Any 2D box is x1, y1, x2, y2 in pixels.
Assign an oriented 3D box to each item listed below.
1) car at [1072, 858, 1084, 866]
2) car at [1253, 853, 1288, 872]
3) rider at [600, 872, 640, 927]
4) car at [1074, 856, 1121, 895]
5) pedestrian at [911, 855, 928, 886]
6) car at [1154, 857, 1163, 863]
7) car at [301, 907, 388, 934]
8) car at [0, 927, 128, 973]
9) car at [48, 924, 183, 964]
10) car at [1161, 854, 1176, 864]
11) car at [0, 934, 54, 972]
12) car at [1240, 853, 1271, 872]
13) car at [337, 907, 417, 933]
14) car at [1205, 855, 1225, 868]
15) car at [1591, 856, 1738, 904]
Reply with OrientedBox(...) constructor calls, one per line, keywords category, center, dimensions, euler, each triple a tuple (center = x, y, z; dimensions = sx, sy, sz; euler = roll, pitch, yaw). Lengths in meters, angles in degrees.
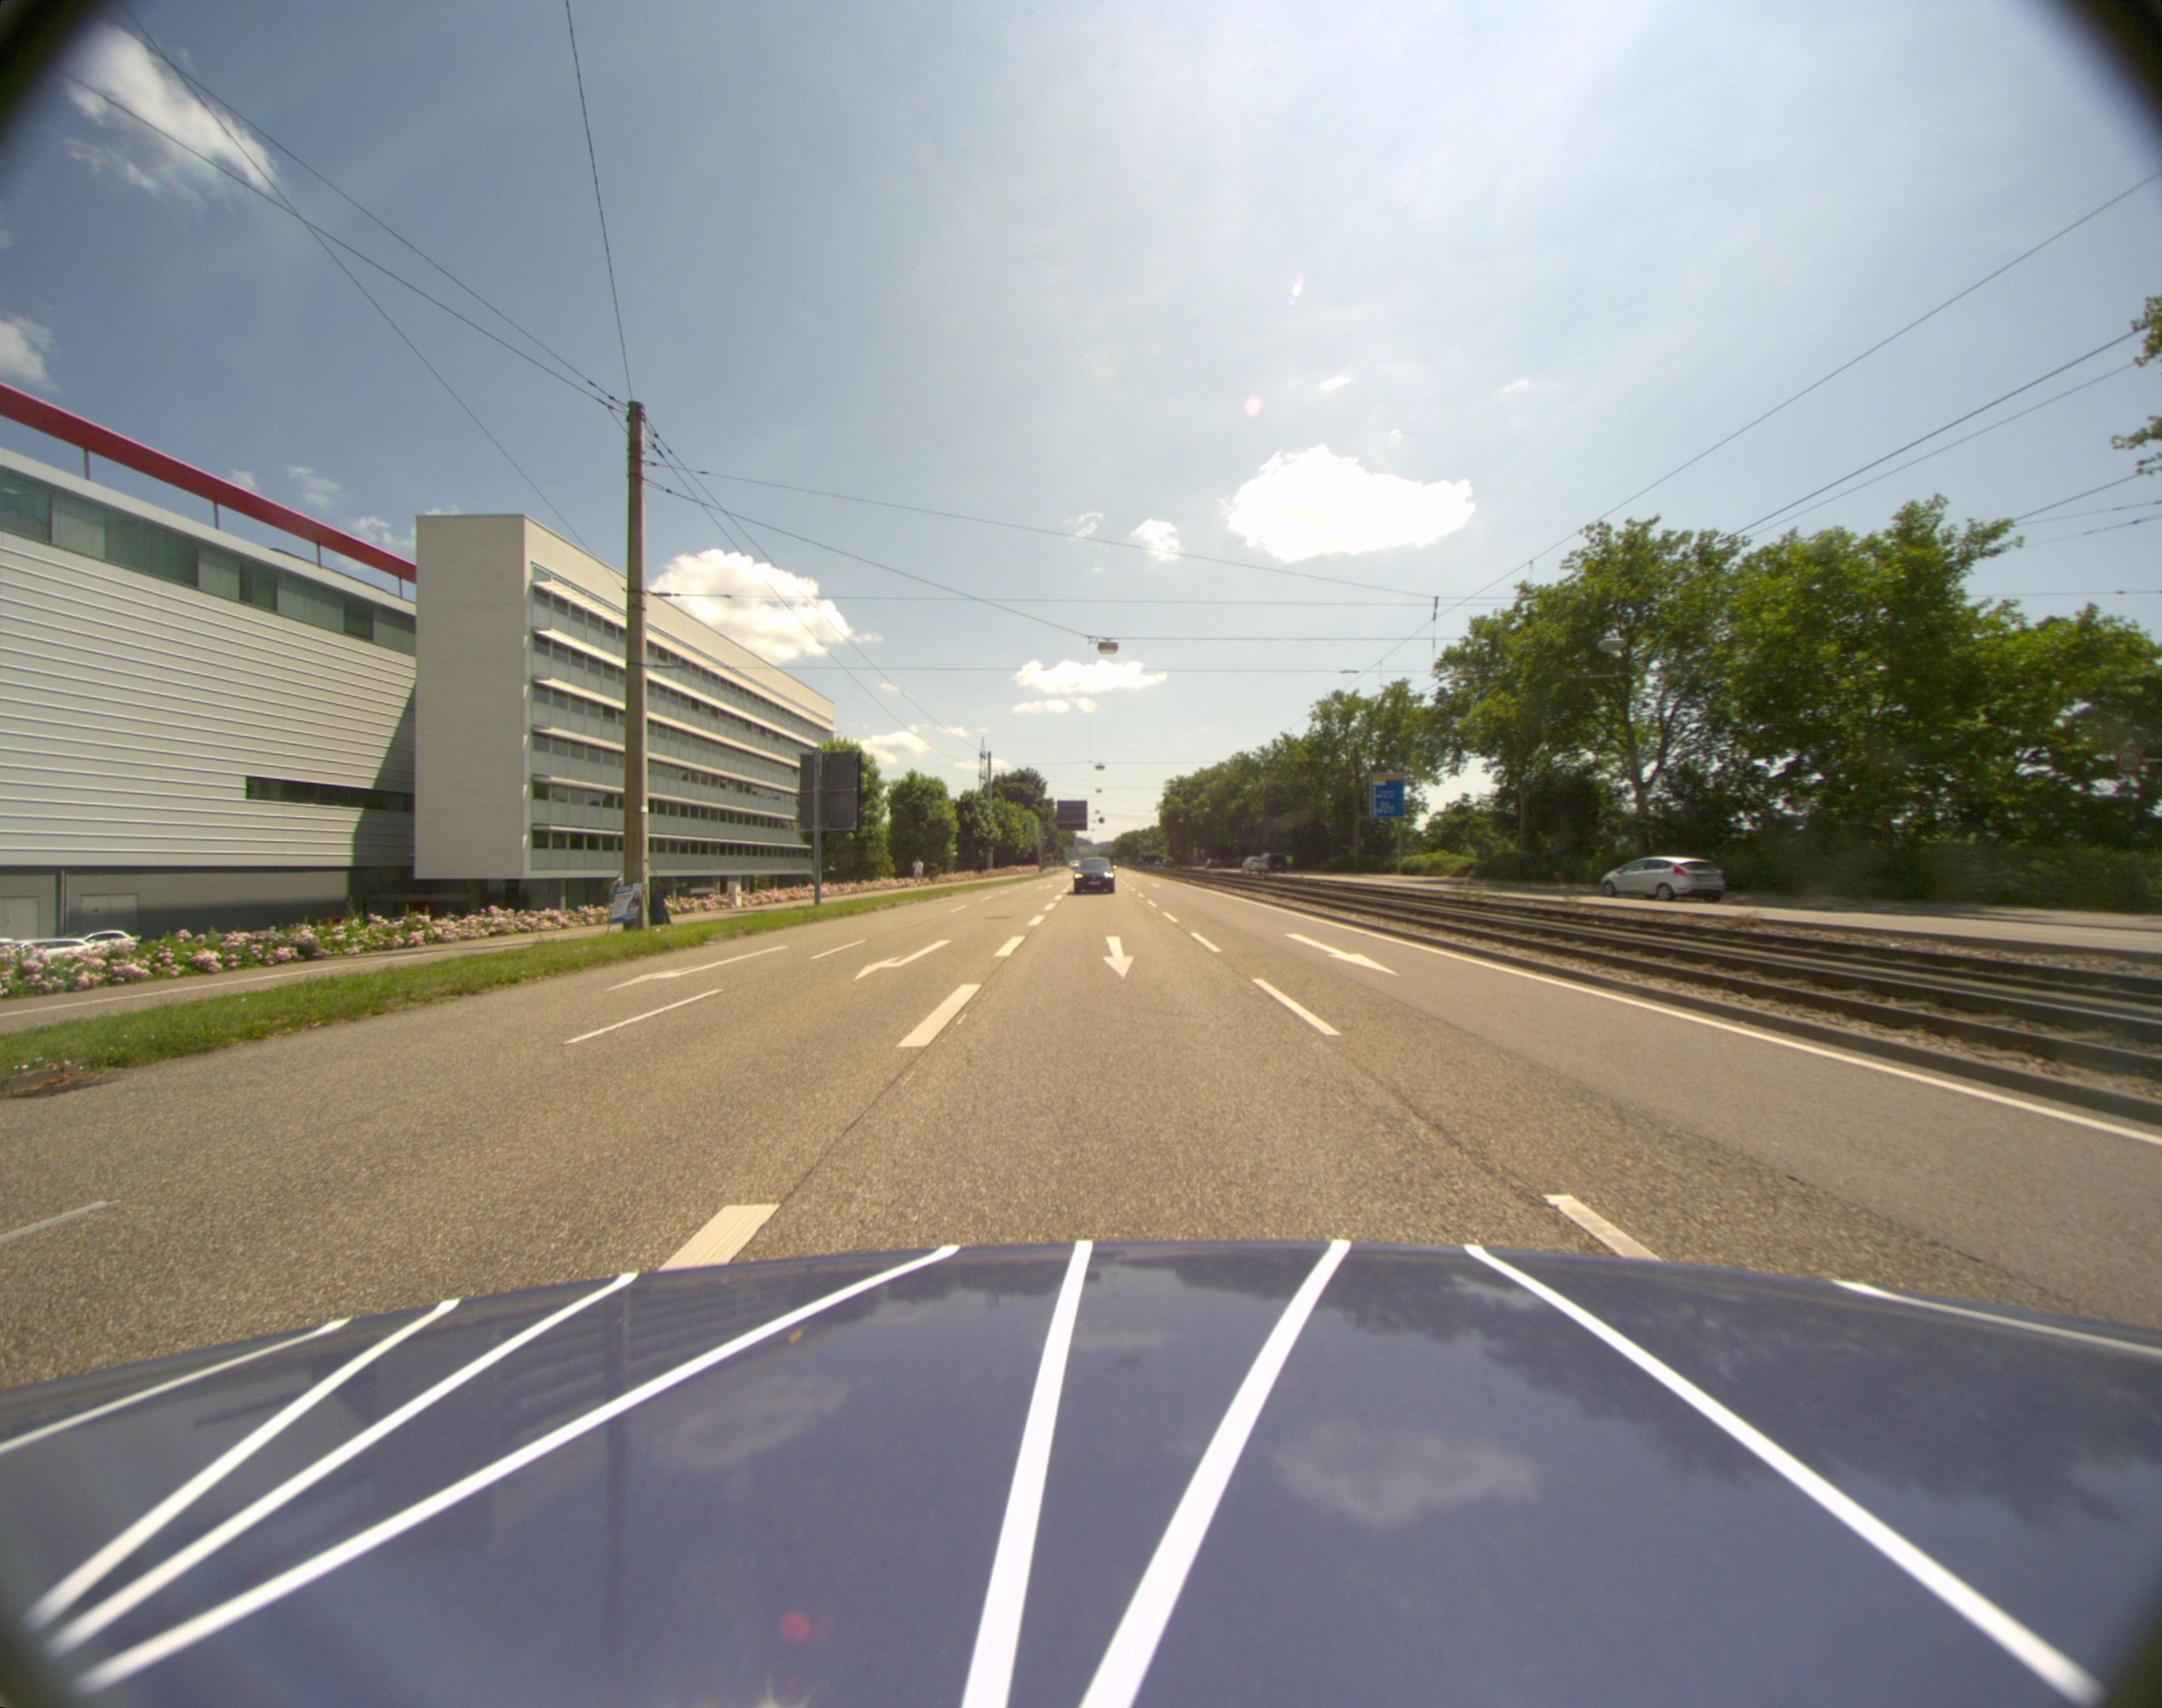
OrientedBox(category="car", center=(-0.479, 1.330, 125.939), dimensions=(1.896, 1.331, 4.000), euler=(-2, 0, 1))
OrientedBox(category="car", center=(18.335, 0.803, 73.691), dimensions=(1.999, 1.820, 4.969), euler=(1, 0, -1))
OrientedBox(category="rider", center=(-12.759, 1.251, 21.039), dimensions=(0.671, 1.449, 0.618), euler=(-2, 1, 1))
OrientedBox(category="car", center=(0.720, 0.889, 33.616), dimensions=(1.898, 1.564, 4.511), euler=(-1, 0, 1))
OrientedBox(category="pedestrian", center=(-9.738, 0.968, 45.815), dimensions=(0.758, 1.838, 0.931), euler=(-2, 1, 3))
OrientedBox(category="car", center=(20.930, 1.593, 205.414), dimensions=(1.803, 1.495, 4.735), euler=(1, 0, -1))
OrientedBox(category="car", center=(-50.481, 4.510, 52.198), dimensions=(1.998, 1.438, 4.000), euler=(-2, 0, 1))
OrientedBox(category="car", center=(-48.667, 4.470, 35.399), dimensions=(1.998, 1.602, 5.146), euler=(-2, 0, 1))
OrientedBox(category="car", center=(-51.118, 4.716, 40.383), dimensions=(1.998, 1.602, 4.000), euler=(-2, 0, 1))
OrientedBox(category="car", center=(16.110, 0.963, 140.232), dimensions=(1.999, 1.820, 4.969), euler=(1, 0, -1))
OrientedBox(category="car", center=(-51.326, 4.742, 35.200), dimensions=(1.998, 1.602, 4.000), euler=(-2, 0, 1))
OrientedBox(category="car", center=(15.304, 0.692, 66.761), dimensions=(1.690, 1.574, 4.058), euler=(2, 0, -1))
OrientedBox(category="car", center=(-48.166, 4.482, 52.094), dimensions=(1.648, 1.377, 4.000), euler=(-2, 0, 1))
OrientedBox(category="car", center=(18.901, 1.049, 107.124), dimensions=(1.999, 1.660, 4.468), euler=(1, 0, -1))
OrientedBox(category="car", center=(19.278, 0.804, 25.360), dimensions=(1.827, 1.407, 3.883), euler=(1, 0, -1))
